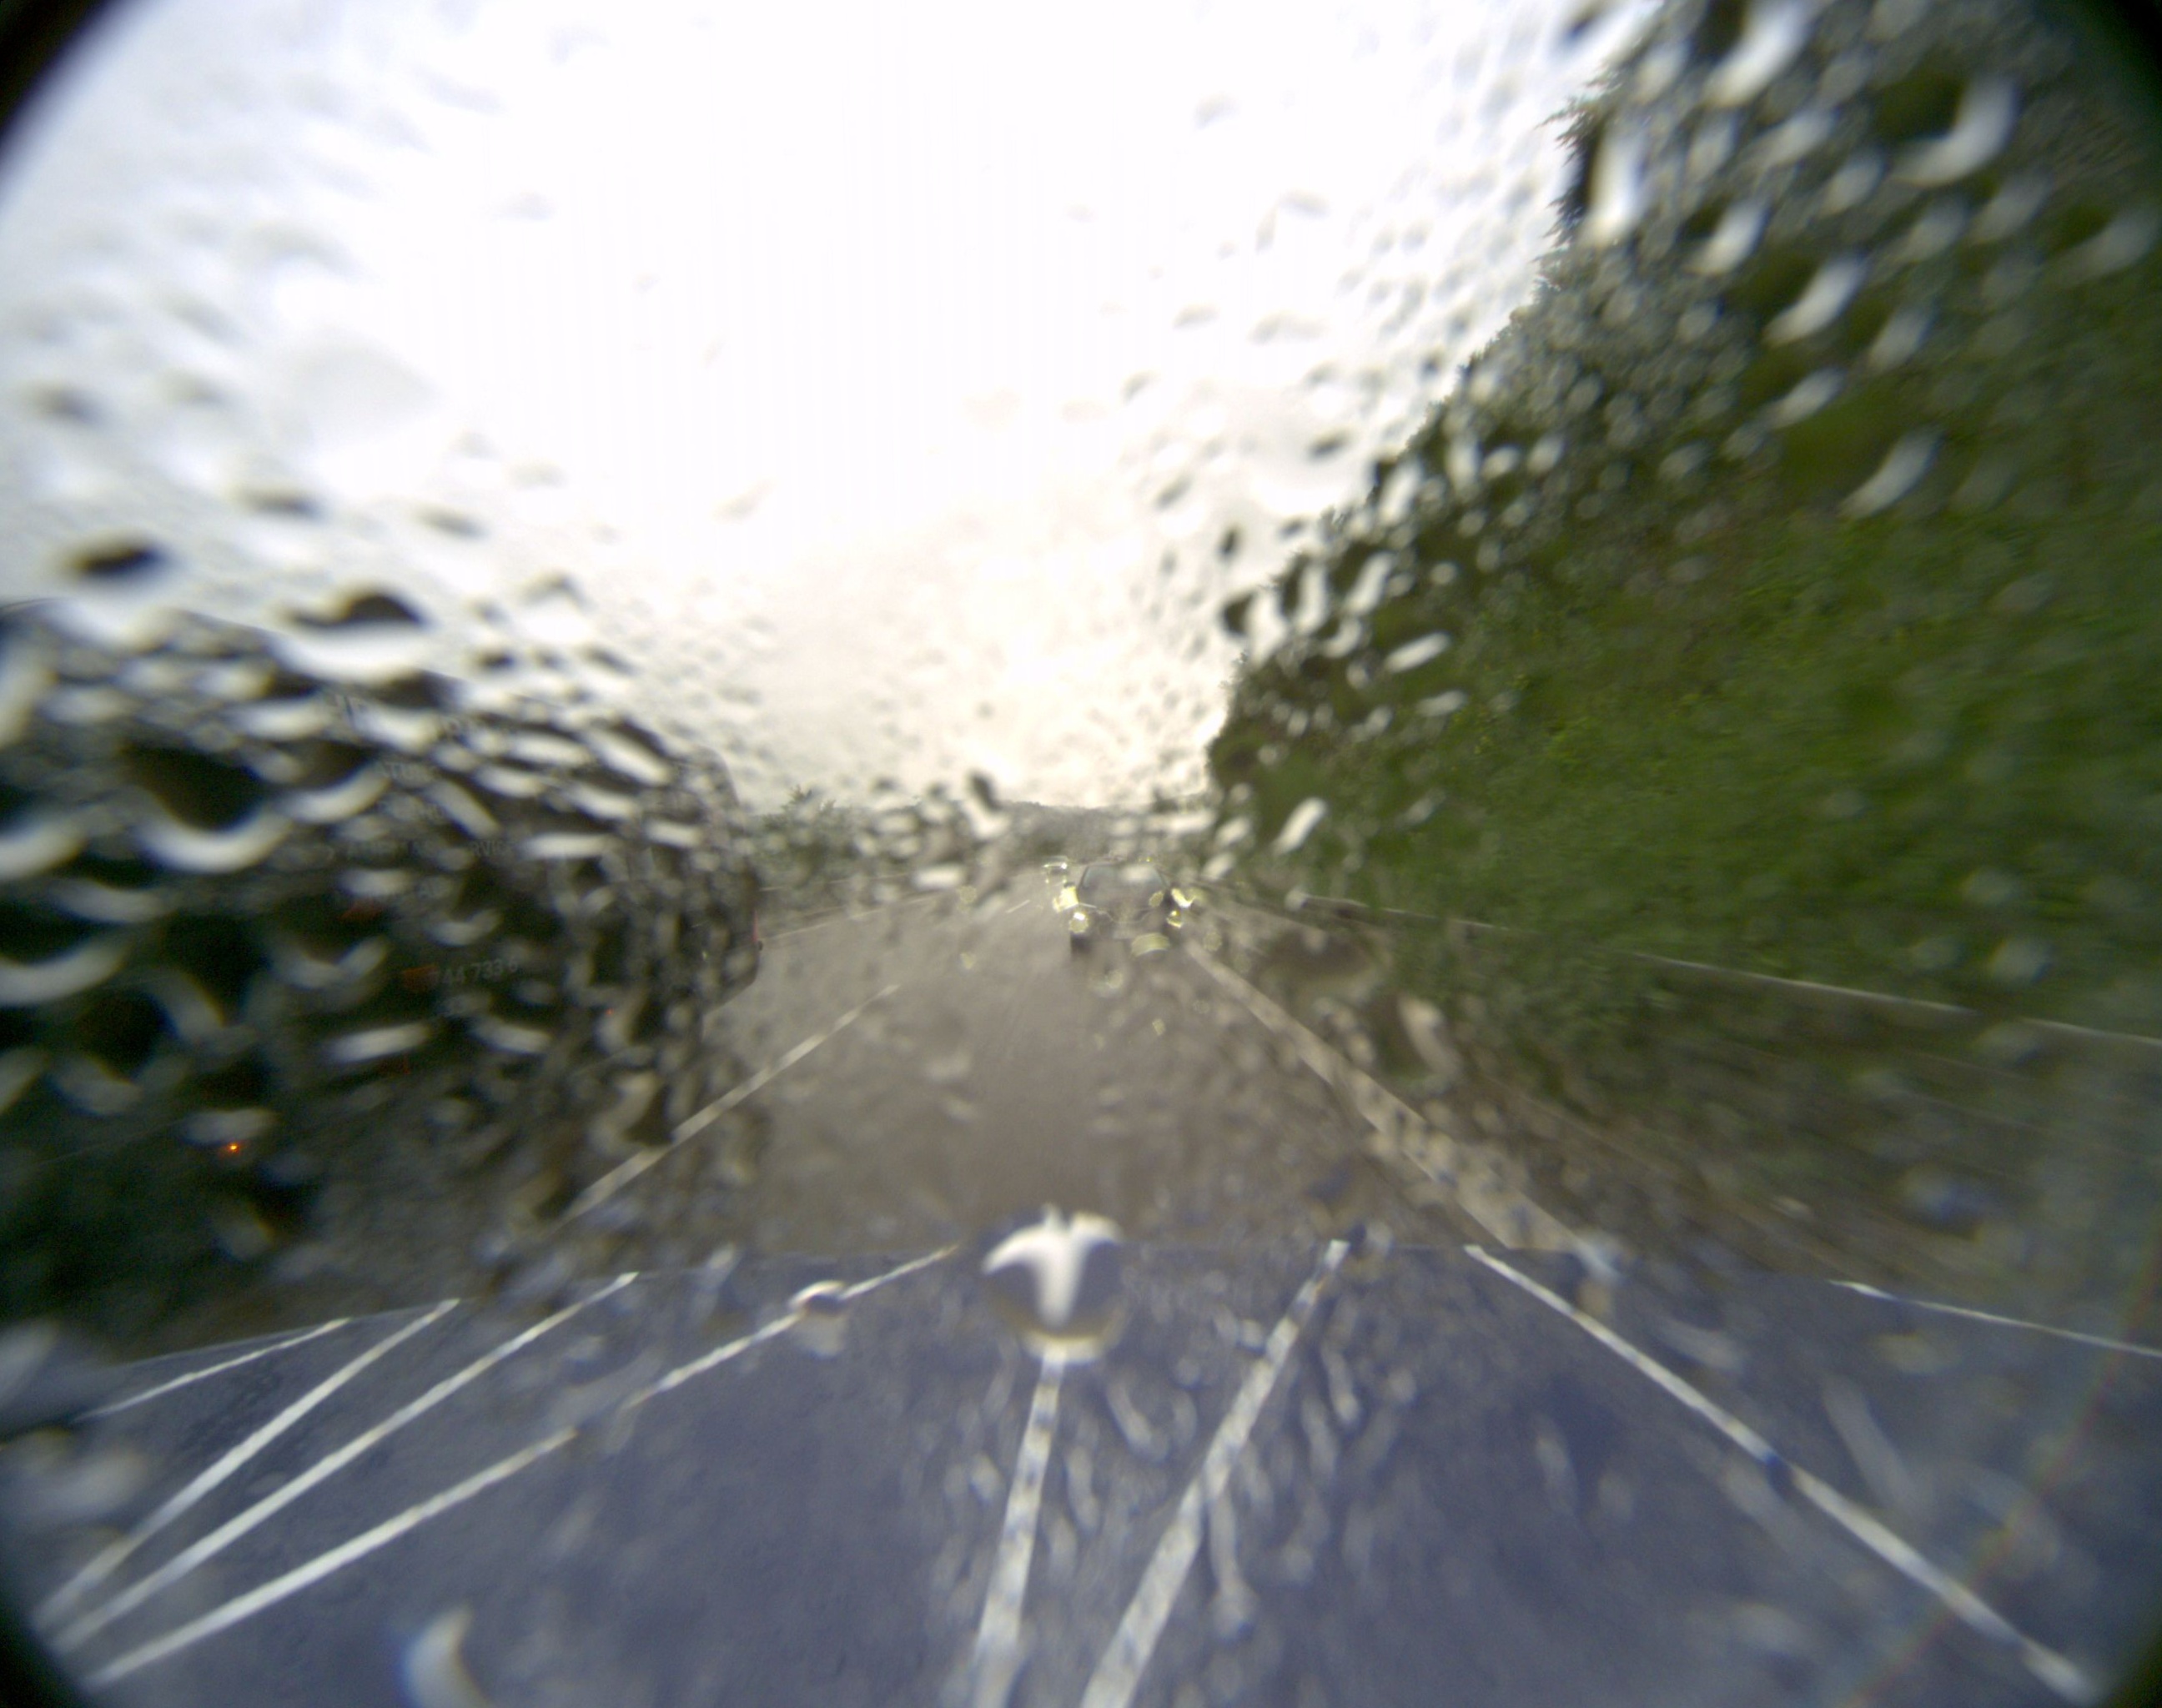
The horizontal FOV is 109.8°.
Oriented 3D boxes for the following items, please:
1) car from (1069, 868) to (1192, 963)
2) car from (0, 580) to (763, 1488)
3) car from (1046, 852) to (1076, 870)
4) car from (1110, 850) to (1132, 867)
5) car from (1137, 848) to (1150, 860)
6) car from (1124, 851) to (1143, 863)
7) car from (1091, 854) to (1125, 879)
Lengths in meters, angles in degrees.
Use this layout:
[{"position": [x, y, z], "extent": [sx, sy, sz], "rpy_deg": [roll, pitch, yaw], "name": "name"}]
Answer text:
[{"position": [0.762, 0.967, 13.560], "extent": [1.839, 1.316, 4.135], "rpy_deg": [-1, 0, 0], "name": "car"}, {"position": [-3.951, 0.494, 3.614], "extent": [1.998, 2.479, 6.704], "rpy_deg": [-1, 0, 0], "name": "car"}, {"position": [-1.638, 0.564, 63.202], "extent": [1.990, 1.407, 4.565], "rpy_deg": [-2, 0, 4], "name": "car"}, {"position": [3.941, 0.376, 73.698], "extent": [1.905, 1.545, 4.565], "rpy_deg": [-2, 0, 5], "name": "car"}, {"position": [9.337, -0.027, 113.122], "extent": [1.657, 1.535, 3.665], "rpy_deg": [-4, 0, 7], "name": "car"}, {"position": [6.399, 0.356, 92.586], "extent": [1.989, 1.316, 4.145], "rpy_deg": [-2, 0, 7], "name": "car"}, {"position": [1.647, 0.685, 44.714], "extent": [1.712, 1.316, 3.946], "rpy_deg": [-2, 0, 5], "name": "car"}]
